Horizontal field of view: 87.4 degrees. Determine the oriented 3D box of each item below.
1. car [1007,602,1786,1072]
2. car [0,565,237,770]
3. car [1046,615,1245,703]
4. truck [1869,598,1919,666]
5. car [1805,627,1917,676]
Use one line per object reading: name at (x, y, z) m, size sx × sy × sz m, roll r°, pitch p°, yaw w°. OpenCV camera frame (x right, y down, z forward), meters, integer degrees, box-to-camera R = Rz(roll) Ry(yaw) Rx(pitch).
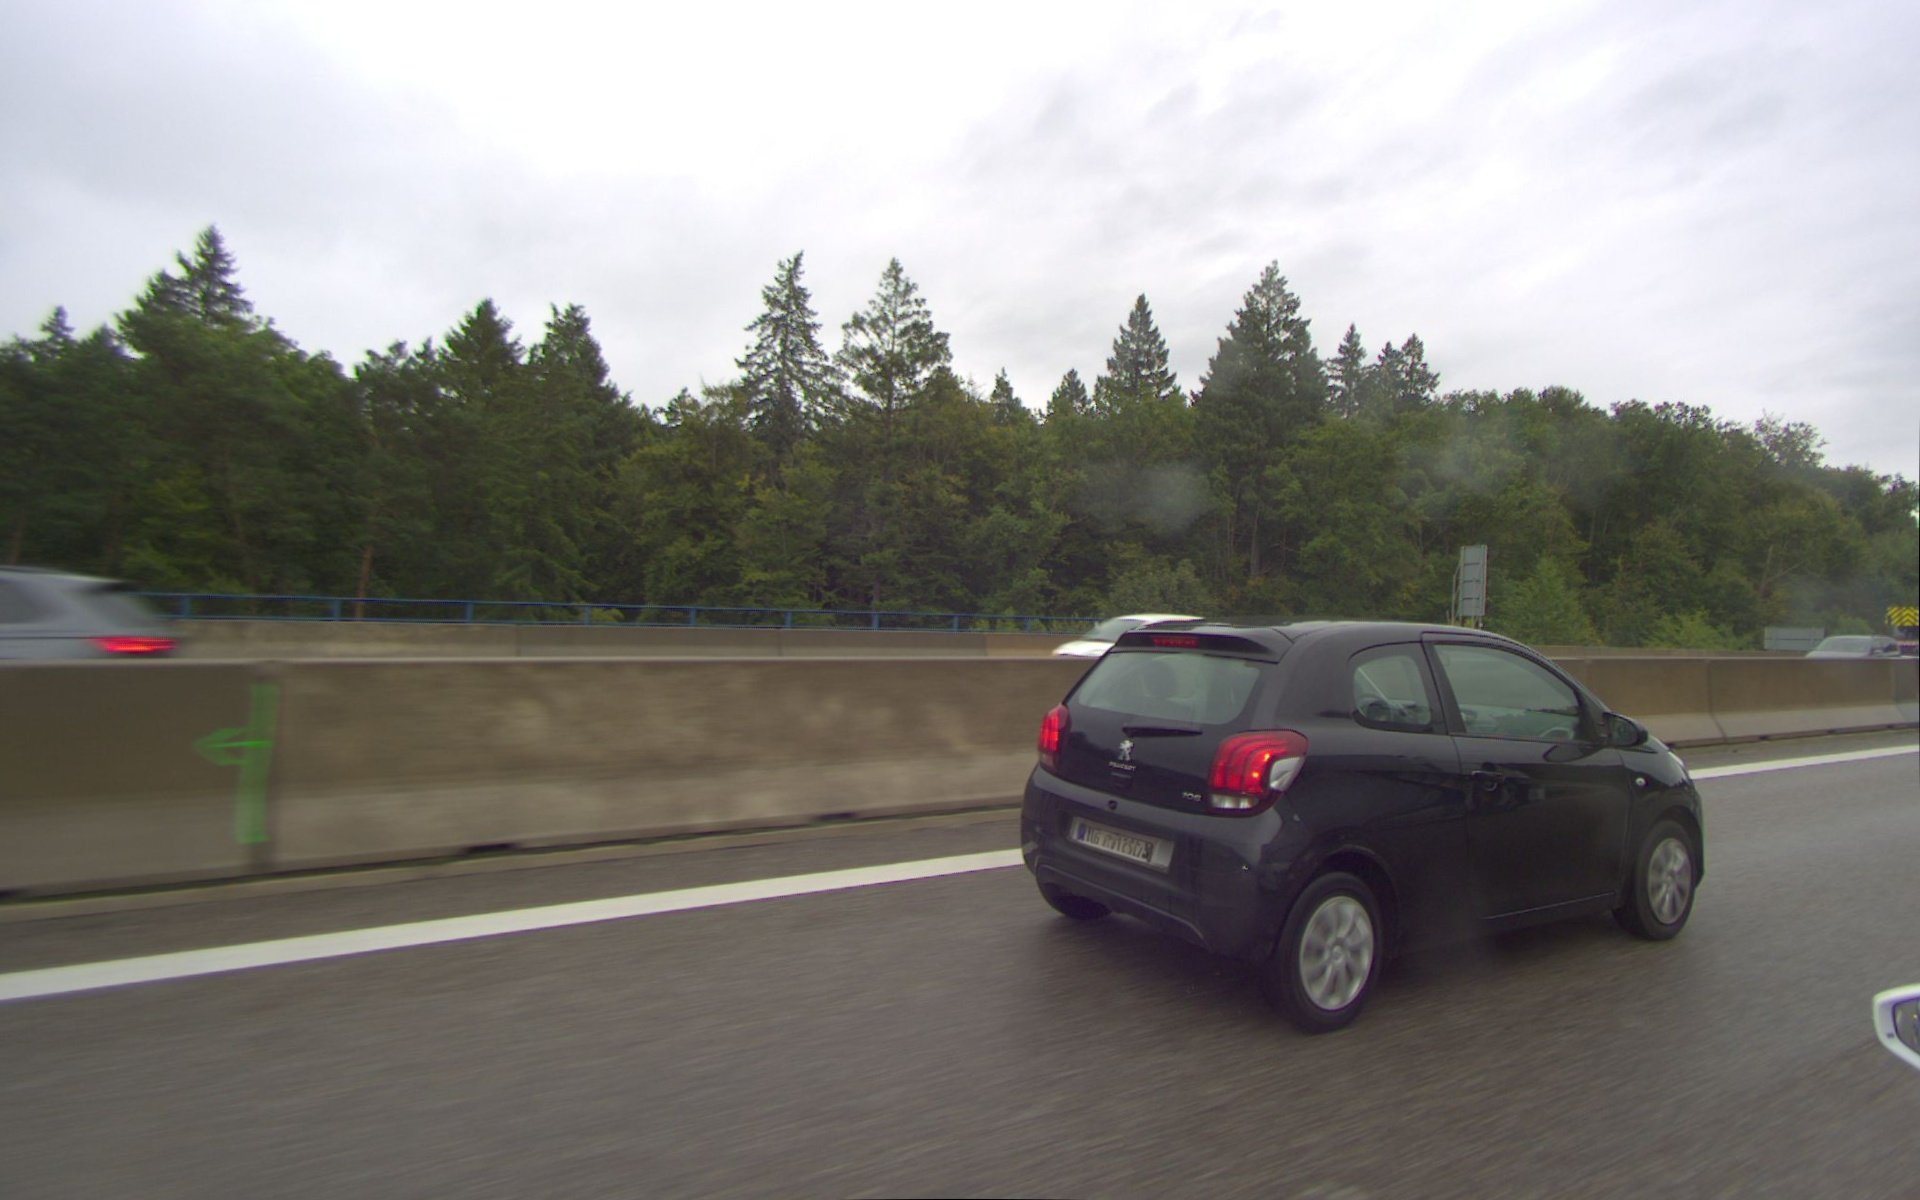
car at (2.208, 0.806, 4.879) m, size 3.642 × 1.482 × 1.675 m, roll 2°, pitch 0°, yaw -31°
car at (-8.755, 0.478, 7.938) m, size 4.721 × 1.568 × 1.877 m, roll 2°, pitch 0°, yaw -30°
car at (3.617, 1.107, 19.521) m, size 3.596 × 1.541 × 1.649 m, roll 2°, pitch 0°, yaw -30°
truck at (49.595, 1.666, 50.704) m, size 10.535 × 3.216 × 2.421 m, roll 2°, pitch -1°, yaw -30°
car at (31.457, 1.781, 35.058) m, size 4.217 × 1.599 × 1.697 m, roll 2°, pitch -1°, yaw -30°
